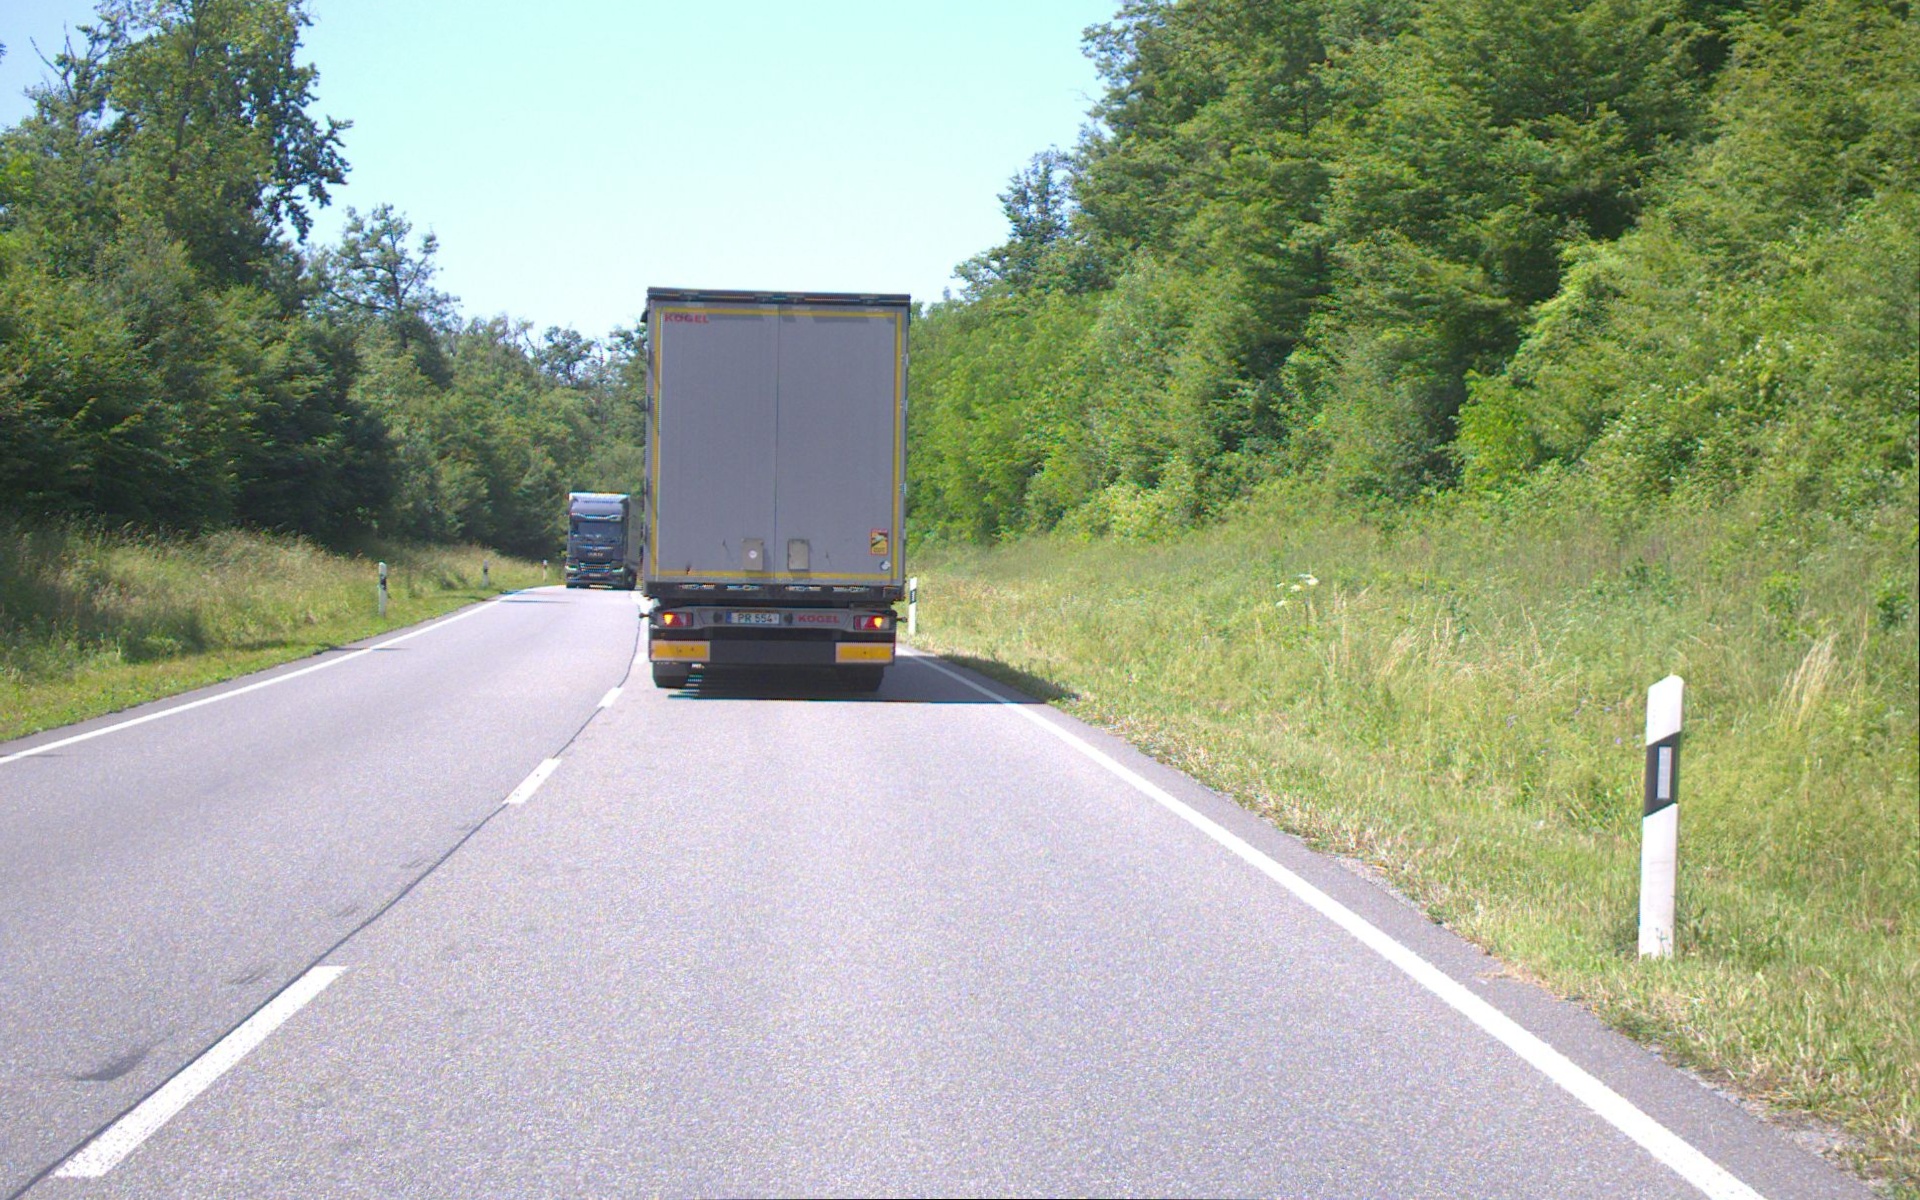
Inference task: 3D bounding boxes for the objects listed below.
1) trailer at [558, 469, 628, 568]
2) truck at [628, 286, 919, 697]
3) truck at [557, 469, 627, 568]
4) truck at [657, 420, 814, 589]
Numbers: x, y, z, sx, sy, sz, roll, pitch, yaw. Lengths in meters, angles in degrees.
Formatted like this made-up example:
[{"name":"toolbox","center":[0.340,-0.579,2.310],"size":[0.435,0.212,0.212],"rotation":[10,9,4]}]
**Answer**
[{"name":"trailer","center":[-16.440,-3.621,154.622],"size":[2.941,4.238,13.622],"rotation":[0,1,-5]},{"name":"truck","center":[-2.114,-1.162,39.305],"size":[2.761,3.933,12.199],"rotation":[1,1,-3]},{"name":"truck","center":[-15.837,-3.499,148.239],"size":[2.922,4.201,5.344],"rotation":[0,1,-5]},{"name":"truck","center":[-6.611,-2.630,98.713],"size":[3.792,4.358,14.923],"rotation":[2,0,-6]}]
